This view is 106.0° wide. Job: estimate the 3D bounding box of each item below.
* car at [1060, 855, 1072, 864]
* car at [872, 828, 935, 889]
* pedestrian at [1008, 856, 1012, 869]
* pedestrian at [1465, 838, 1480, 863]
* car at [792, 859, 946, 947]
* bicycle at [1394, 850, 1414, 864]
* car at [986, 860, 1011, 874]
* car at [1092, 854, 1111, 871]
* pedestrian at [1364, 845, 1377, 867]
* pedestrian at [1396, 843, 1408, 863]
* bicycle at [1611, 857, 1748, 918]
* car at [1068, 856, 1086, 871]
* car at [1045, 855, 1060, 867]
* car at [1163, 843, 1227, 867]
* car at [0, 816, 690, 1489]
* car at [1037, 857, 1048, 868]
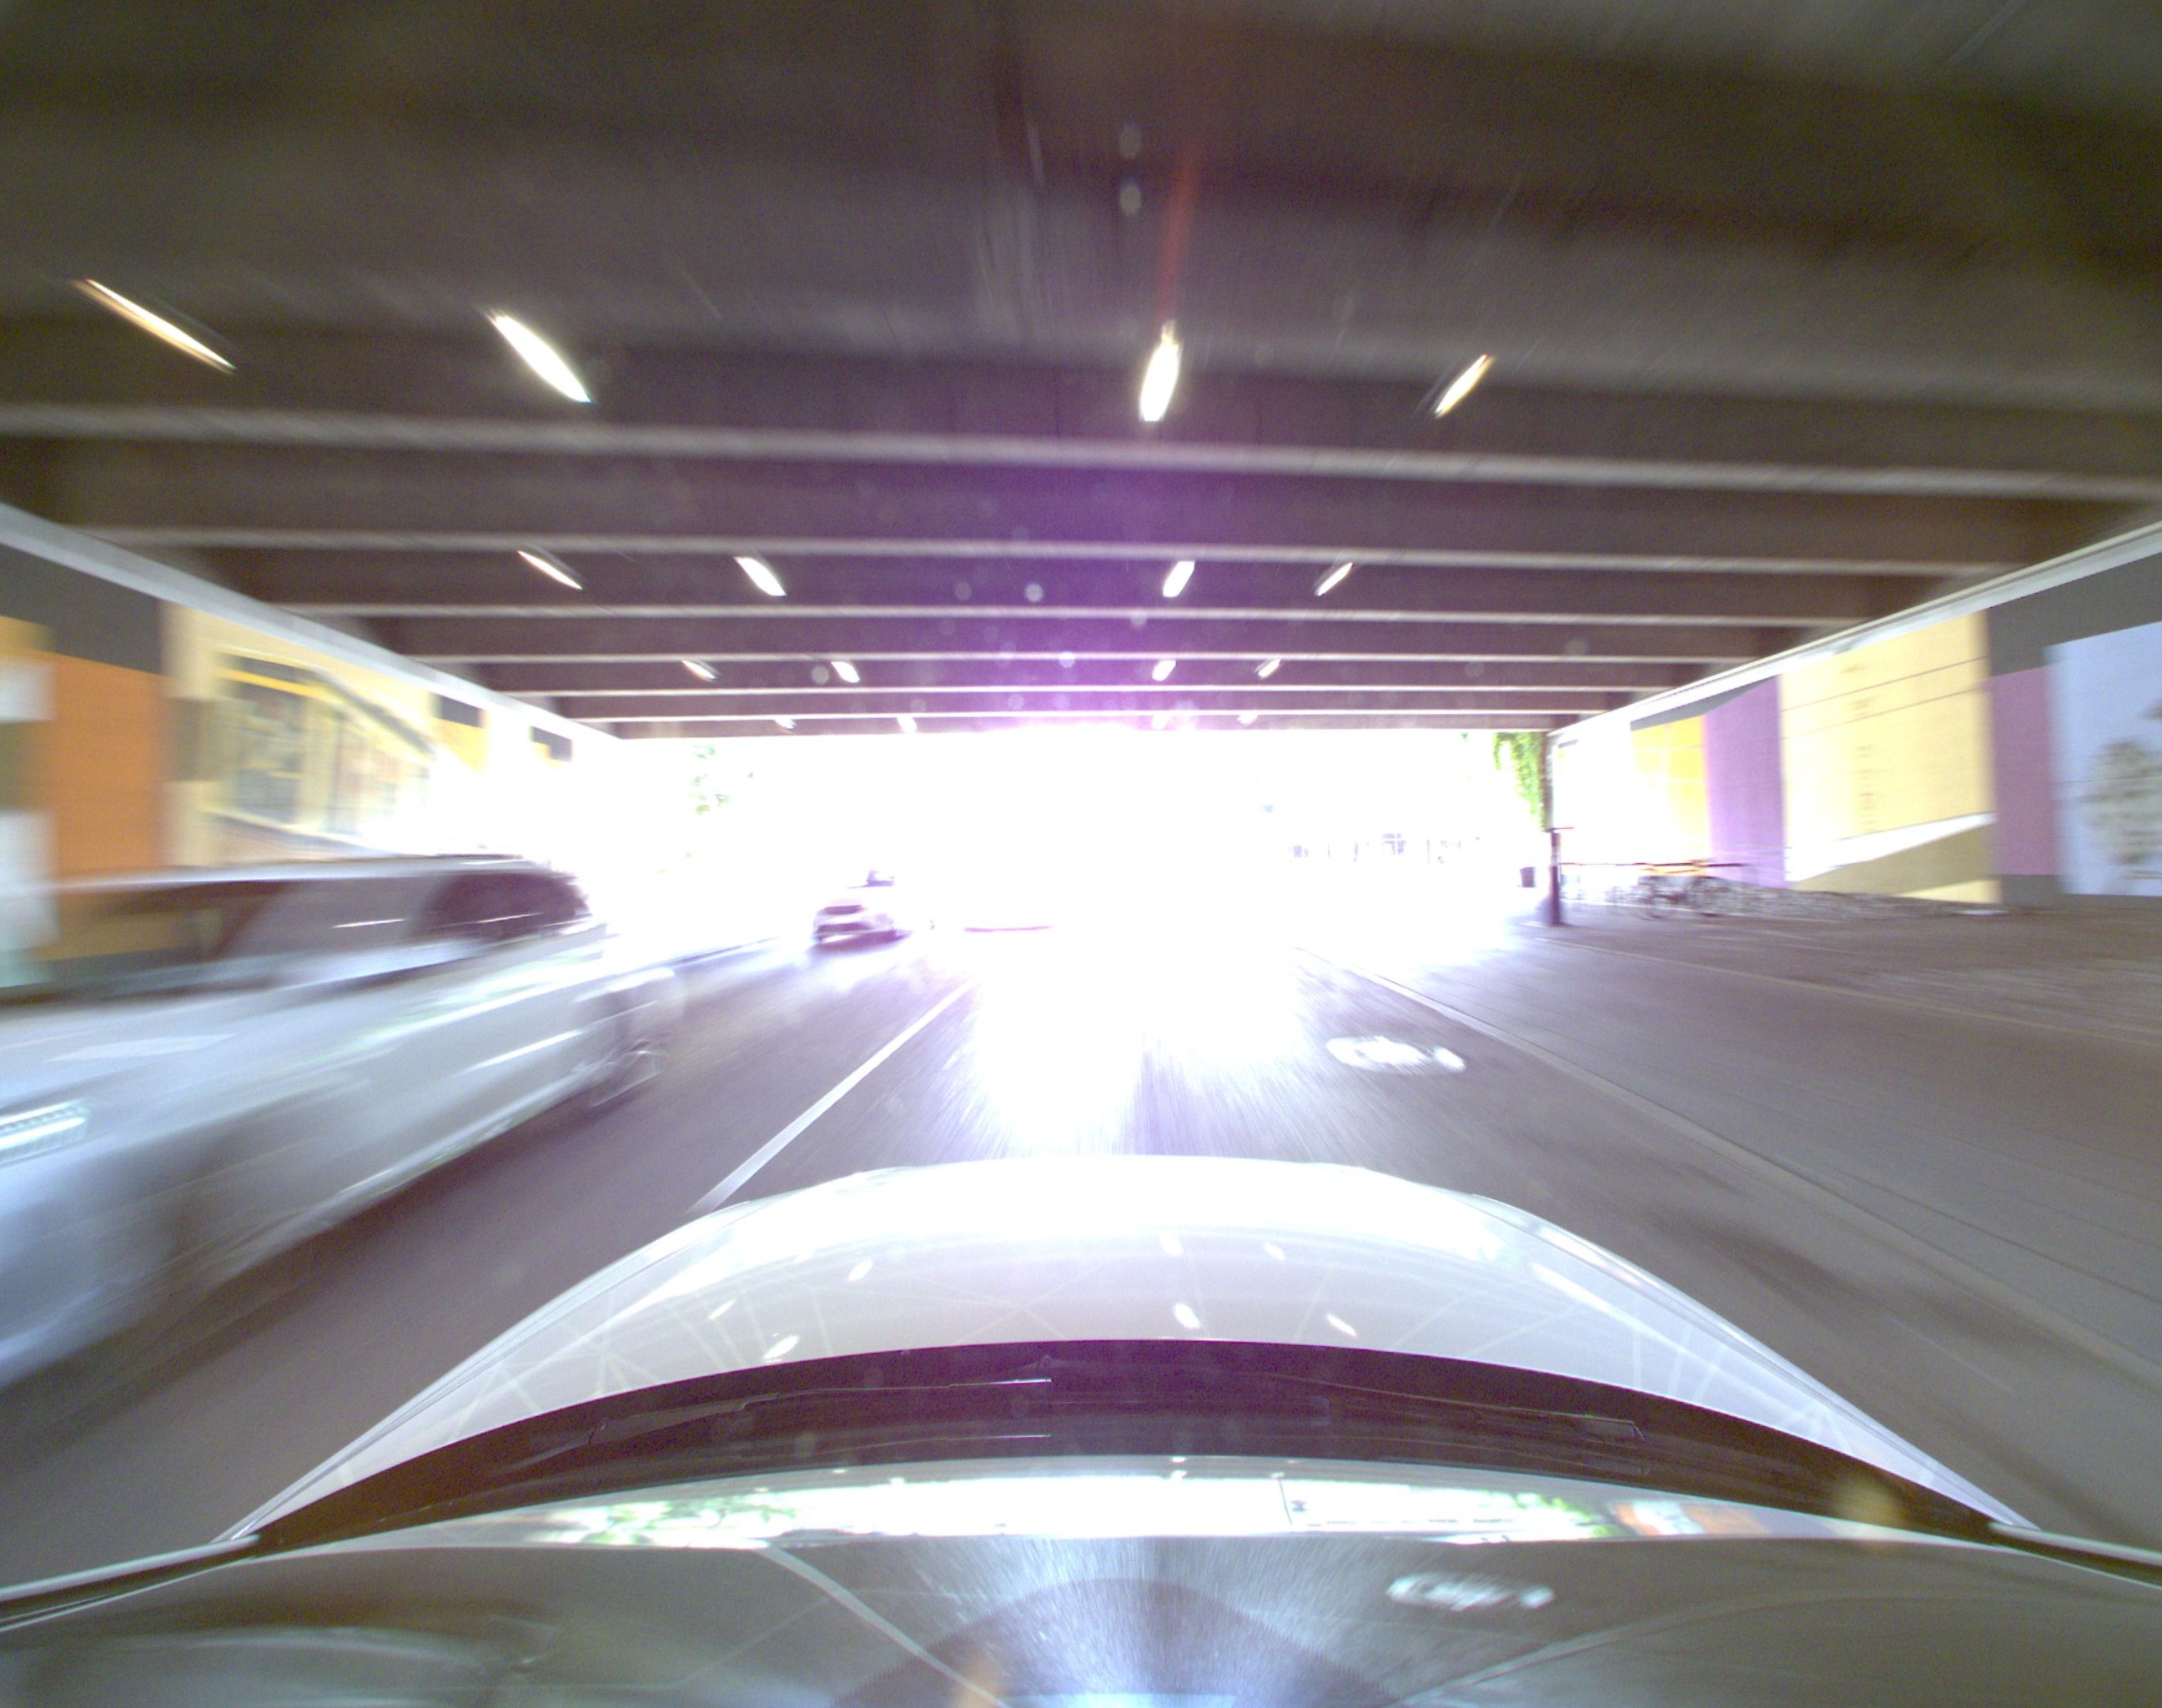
[{"bbox_3d":[-2.289,0.801,121.758,1.706,1.354,3.995,-1,0,-3],"label":"car"},{"bbox_3d":[-8.135,0.199,37.859,1.964,2.607,5.922,0,0,-4],"label":"car"},{"bbox_3d":[-9.125,1.072,104.781,0.550,1.686,0.516,-1,0,-3],"label":"pedestrian"},{"bbox_3d":[29.123,-0.270,60.579,0.614,1.818,0.697,-5,0,-5],"label":"pedestrian"},{"bbox_3d":[-4.063,0.880,16.280,1.663,1.447,3.859,-3,0,6],"label":"car"},{"bbox_3d":[27.053,0.225,68.202,1.523,1.168,0.499,-1,-2,34],"label":"bicycle"},{"bbox_3d":[-7.597,1.171,75.456,1.703,1.245,4.413,-1,0,2],"label":"car"},{"bbox_3d":[2.169,0.878,85.117,1.816,1.731,4.237,-3,-1,4],"label":"car"},{"bbox_3d":[22.011,0.167,61.886,0.699,1.674,0.612,-1,0,-23],"label":"pedestrian"},{"bbox_3d":[26.950,-0.058,68.460,0.696,1.674,0.615,-1,0,-11],"label":"pedestrian"},{"bbox_3d":[9.956,0.550,13.567,1.941,0.904,0.506,-3,-1,-4],"label":"bicycle"},{"bbox_3d":[-0.471,1.027,86.680,1.819,1.519,4.232,-2,-1,0],"label":"car"},{"bbox_3d":[-3.458,0.810,97.032,1.706,1.354,3.995,-1,0,-3],"label":"car"},{"bbox_3d":[8.483,0.111,60.941,2.010,1.688,4.638,-1,0,-40],"label":"car"},{"bbox_3d":[-3.683,0.780,3.758,1.821,1.654,4.209,-3,0,-3],"label":"car"},{"bbox_3d":[-5.953,1.330,125.892,1.706,1.712,3.995,-1,0,-3],"label":"car"}]
